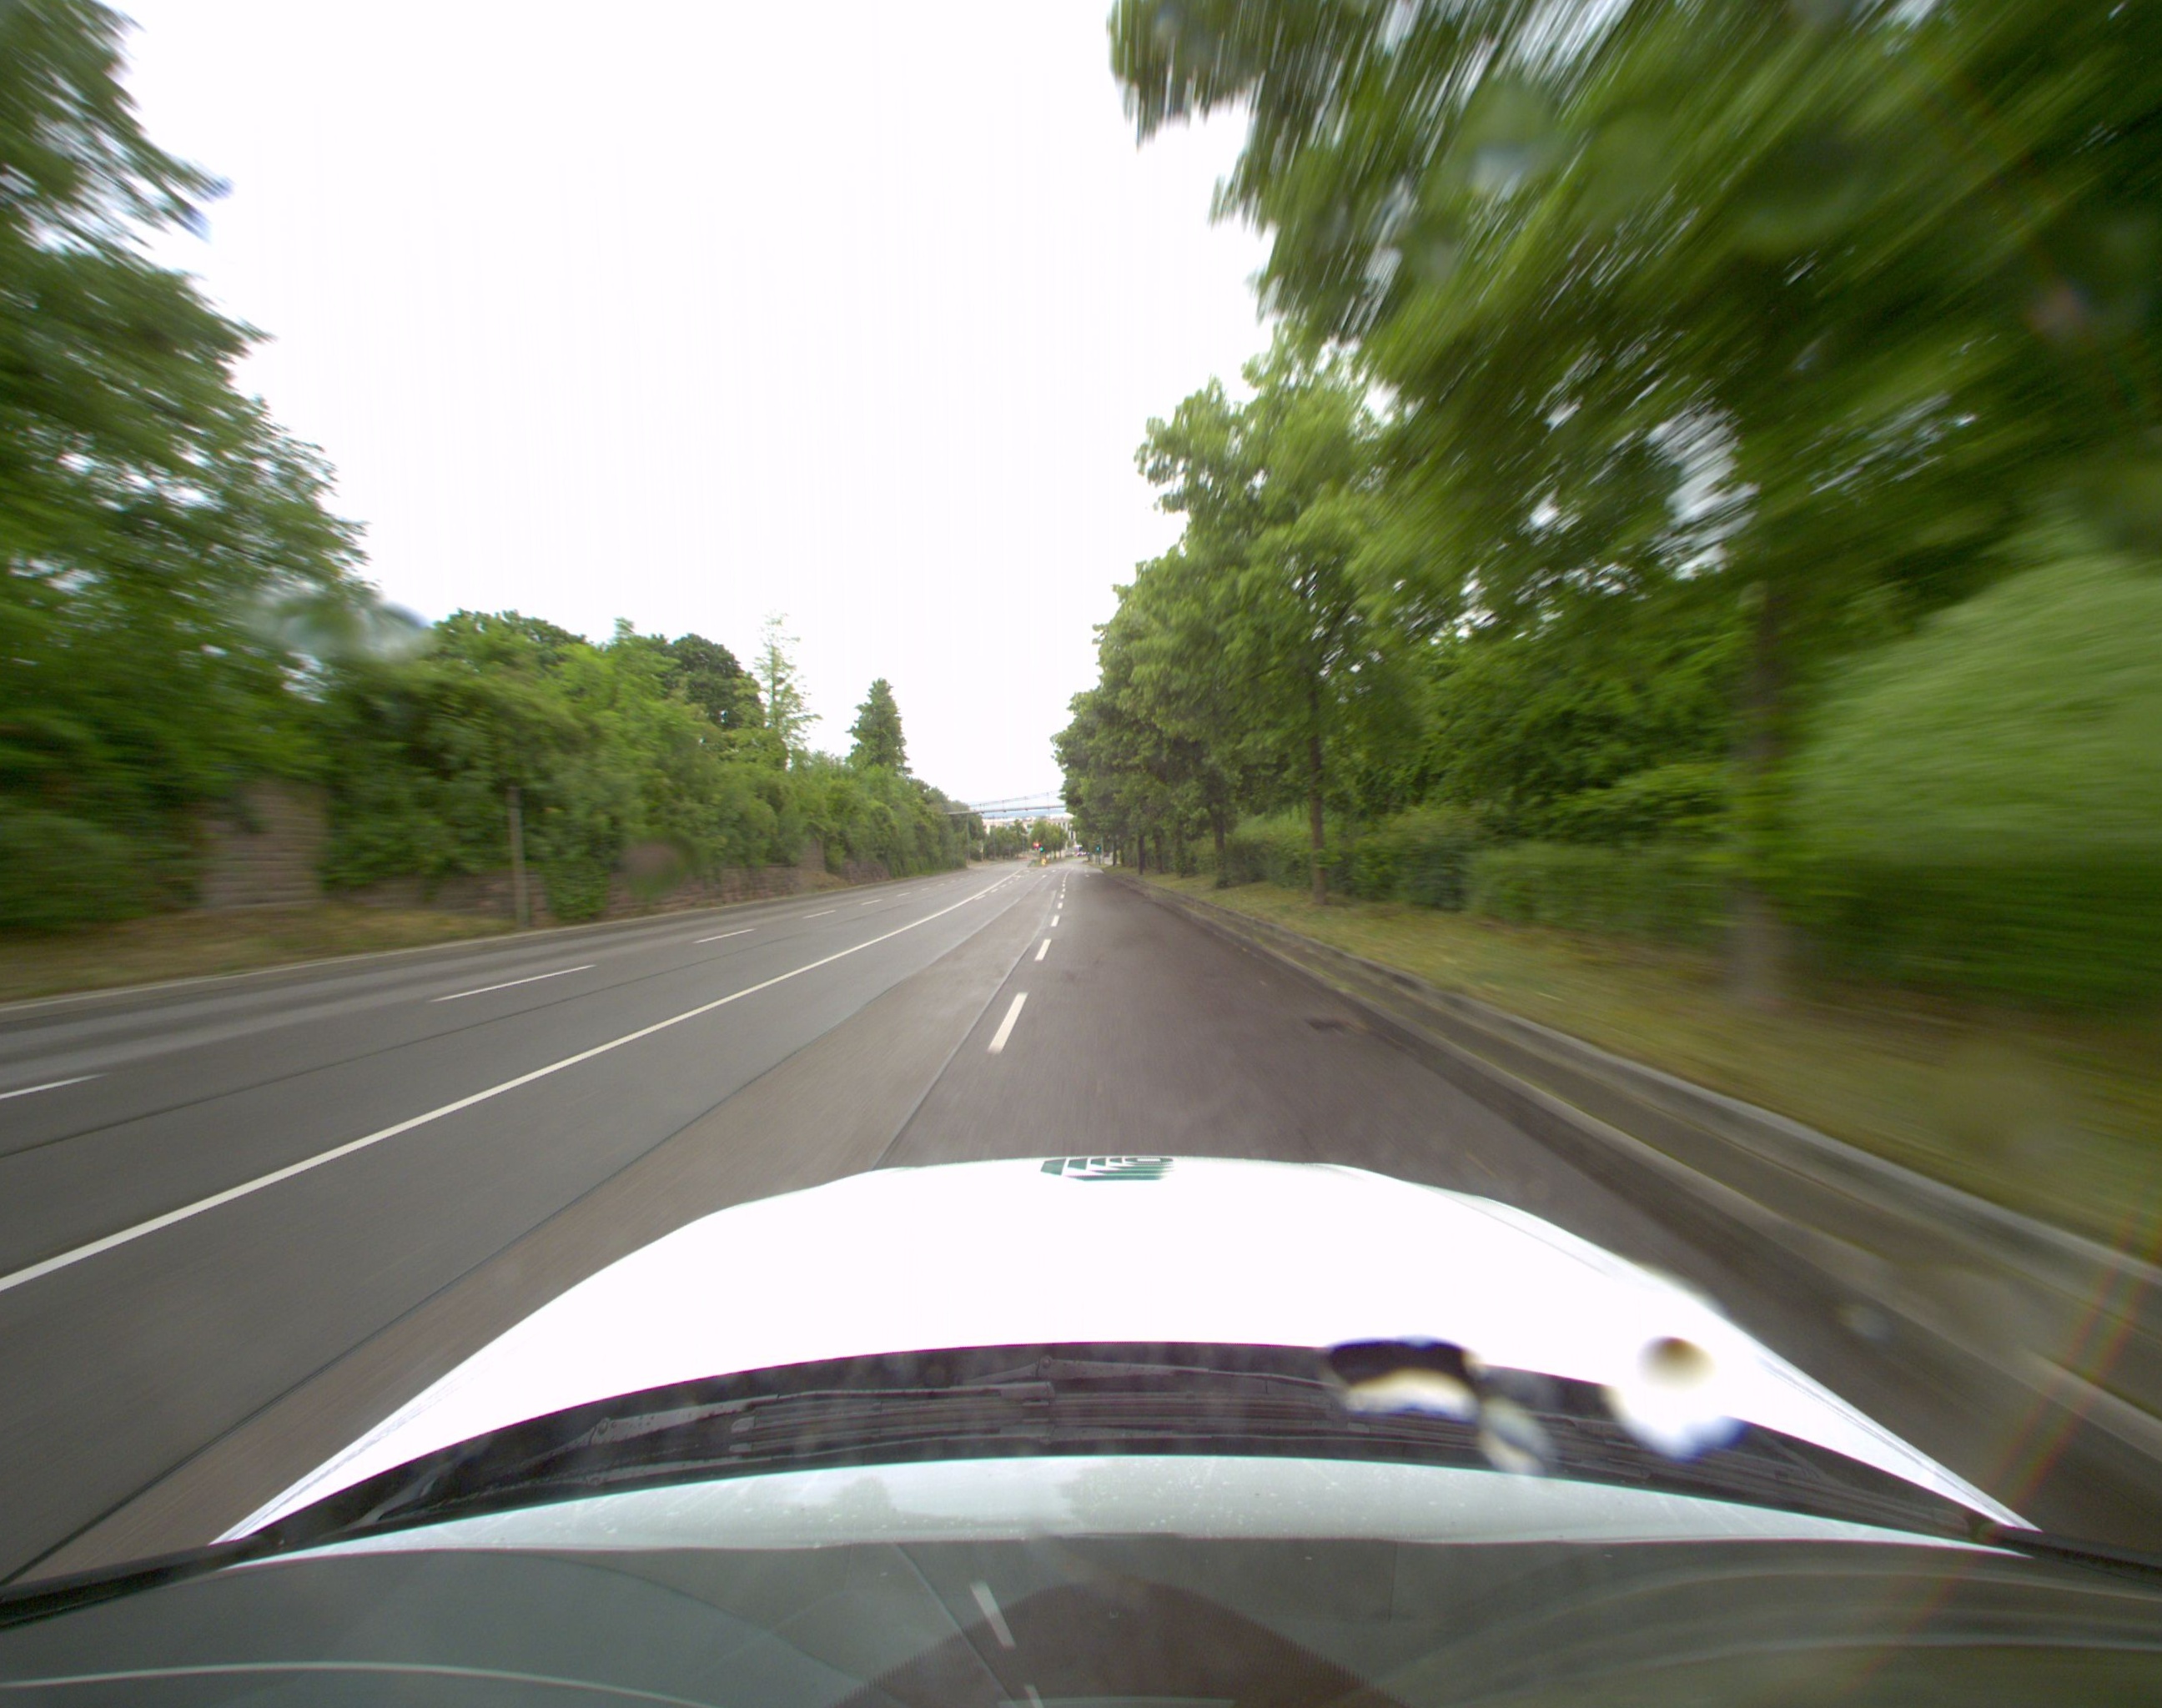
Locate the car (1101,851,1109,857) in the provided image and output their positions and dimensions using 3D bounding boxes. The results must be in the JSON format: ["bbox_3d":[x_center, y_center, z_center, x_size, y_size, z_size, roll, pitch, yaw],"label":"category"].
[{"bbox_3d":[6.956,-0.048,233.779,1.839,1.702,3.801,0,-1,8],"label":"car"}]
